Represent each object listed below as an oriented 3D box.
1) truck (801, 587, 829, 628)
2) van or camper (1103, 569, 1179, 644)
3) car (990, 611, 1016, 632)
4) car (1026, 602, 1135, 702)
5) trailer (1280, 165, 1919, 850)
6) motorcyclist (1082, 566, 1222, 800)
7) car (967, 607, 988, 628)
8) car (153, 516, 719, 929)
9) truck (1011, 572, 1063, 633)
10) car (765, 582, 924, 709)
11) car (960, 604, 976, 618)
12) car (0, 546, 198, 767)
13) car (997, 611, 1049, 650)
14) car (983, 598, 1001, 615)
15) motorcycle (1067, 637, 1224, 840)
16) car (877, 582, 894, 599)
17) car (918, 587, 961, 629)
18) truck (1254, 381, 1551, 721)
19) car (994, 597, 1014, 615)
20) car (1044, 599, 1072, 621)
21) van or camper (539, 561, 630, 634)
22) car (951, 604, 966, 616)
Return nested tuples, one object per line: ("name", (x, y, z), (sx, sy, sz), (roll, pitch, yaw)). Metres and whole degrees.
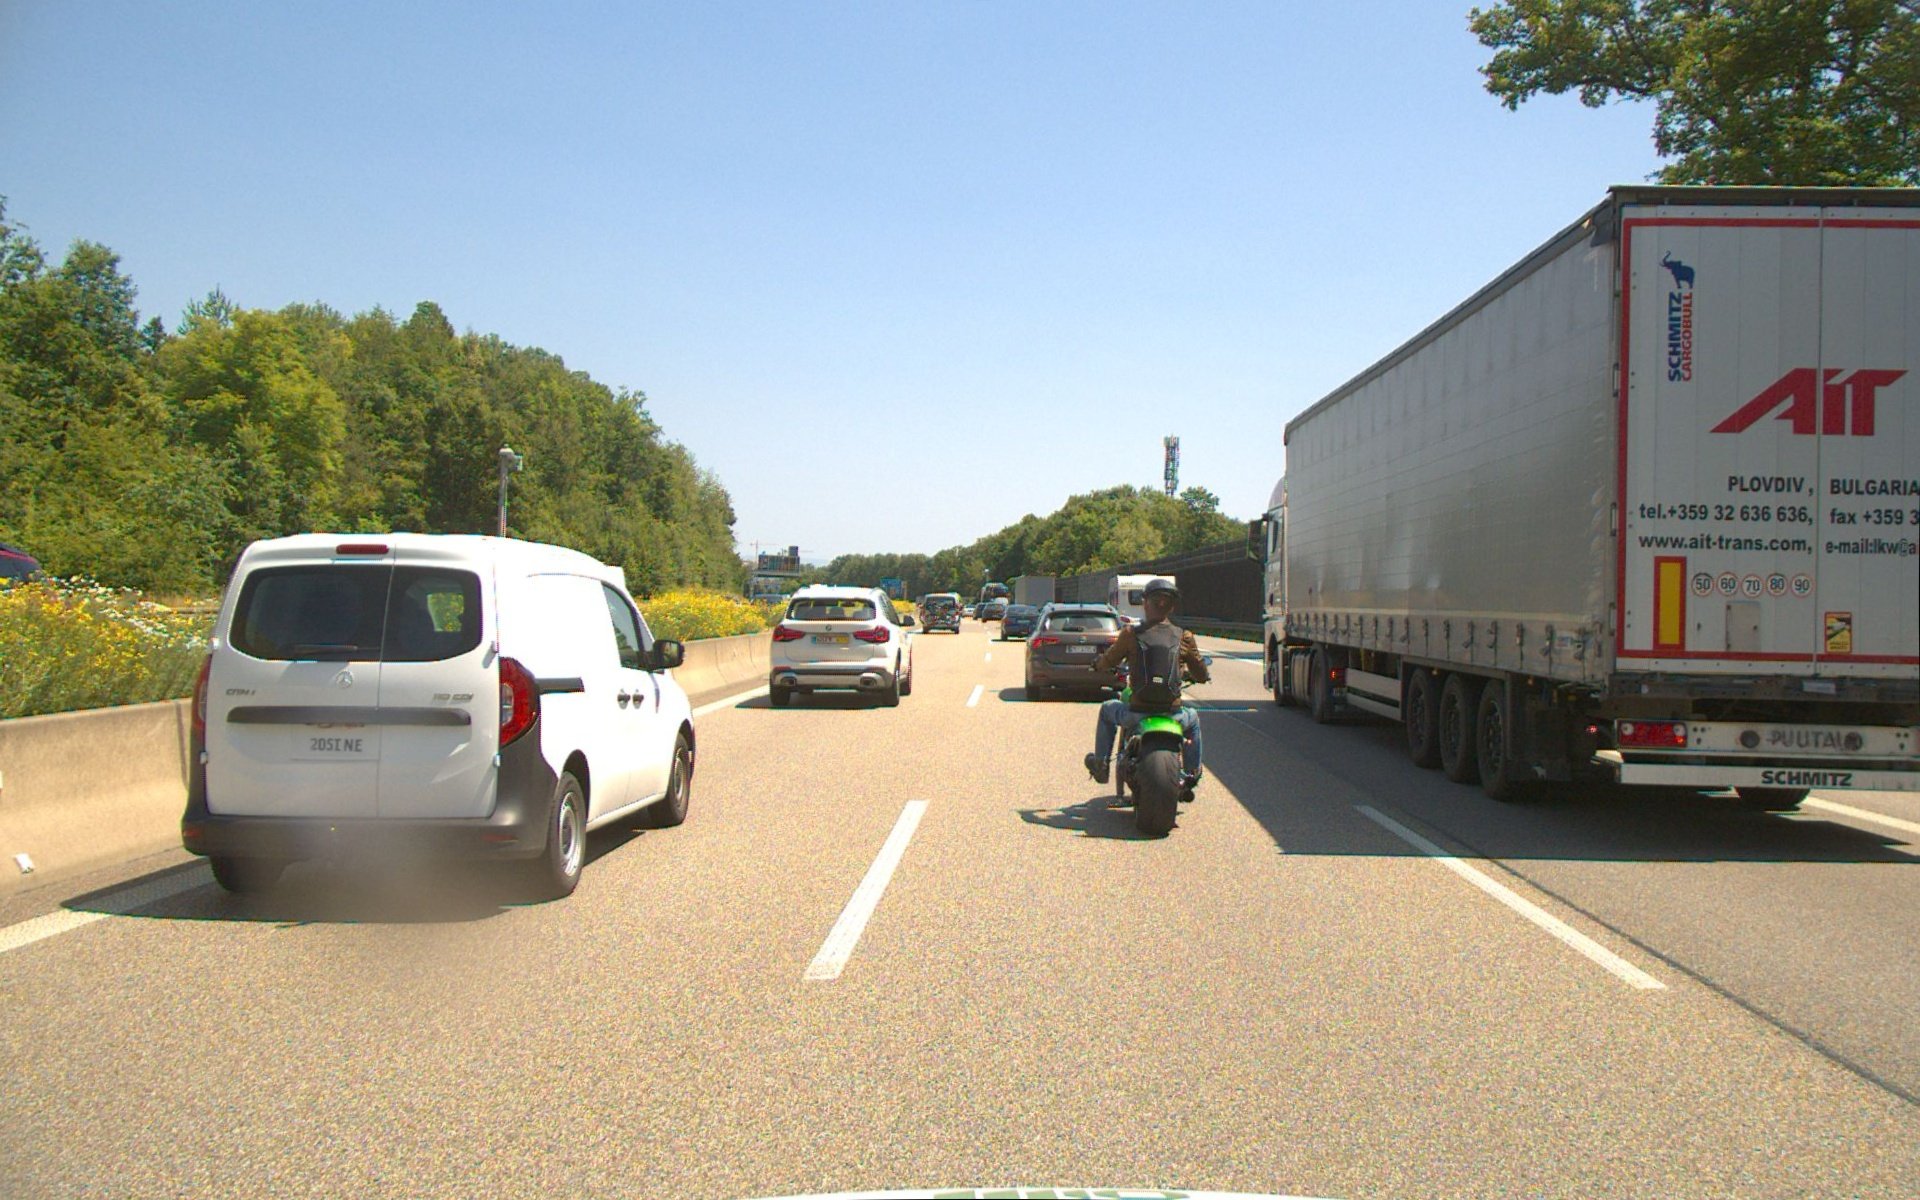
("truck", (-19.759, 1.060, 225.871), (3.411, 5.369, 10.010), (1, -2, -3))
("van or camper", (7.240, 0.326, 66.923), (2.629, 2.862, 6.804), (1, -1, 3))
("car", (3.461, 1.778, 134.100), (1.953, 1.669, 3.999), (1, -1, -1))
("car", (1.933, 0.825, 26.902), (1.627, 1.478, 3.870), (1, -1, 3))
("trailer", (5.704, -0.542, 16.822), (2.825, 4.109, 13.799), (1, 0, 3))
("motorcyclist", (1.389, 0.552, 11.657), (0.880, 1.501, 1.873), (0, -1, 9))
("car", (1.733, 1.758, 164.094), (1.873, 2.049, 3.689), (1, -1, -1))
("car", (-2.713, 0.562, 9.819), (1.728, 1.844, 4.675), (1, 0, 2))
("truck", (6.621, 0.284, 144.021), (3.726, 5.047, 8.946), (1, -1, -2))
("car", (-1.646, 0.639, 25.200), (1.825, 1.724, 4.957), (1, 0, 3))
("car", (0.941, 1.259, 186.516), (1.795, 1.522, 3.743), (1, -1, 0))
("car", (-9.809, 0.544, 16.953), (1.952, 2.049, 4.001), (1, -1, 3))
("car", (2.479, 1.195, 65.102), (1.952, 1.455, 3.848), (1, -1, 2))
("car", (3.851, 0.801, 199.017), (2.065, 1.909, 3.999), (1, -1, -1))
("motorcycle", (1.365, 0.882, 11.630), (0.944, 1.168, 2.814), (1, 0, 9))
("car", (-9.330, -1.150, 206.971), (1.954, 2.049, 3.996), (1, 0, -4))
("car", (-0.934, 0.392, 78.192), (1.860, 1.906, 4.413), (1, -1, 1))
("truck", (6.061, -0.615, 23.678), (2.826, 4.219, 5.987), (1, 0, 2))
("car", (5.149, 0.707, 193.732), (2.065, 1.909, 3.999), (1, -1, -1))
("car", (7.355, 0.774, 124.718), (1.952, 1.602, 4.000), (1, -1, 1))
("van or camper", (-14.770, -0.084, 65.446), (2.042, 2.748, 6.153), (1, 0, 1))
("car", (-0.214, 1.366, 217.684), (1.795, 1.522, 3.741), (1, -1, -2))
